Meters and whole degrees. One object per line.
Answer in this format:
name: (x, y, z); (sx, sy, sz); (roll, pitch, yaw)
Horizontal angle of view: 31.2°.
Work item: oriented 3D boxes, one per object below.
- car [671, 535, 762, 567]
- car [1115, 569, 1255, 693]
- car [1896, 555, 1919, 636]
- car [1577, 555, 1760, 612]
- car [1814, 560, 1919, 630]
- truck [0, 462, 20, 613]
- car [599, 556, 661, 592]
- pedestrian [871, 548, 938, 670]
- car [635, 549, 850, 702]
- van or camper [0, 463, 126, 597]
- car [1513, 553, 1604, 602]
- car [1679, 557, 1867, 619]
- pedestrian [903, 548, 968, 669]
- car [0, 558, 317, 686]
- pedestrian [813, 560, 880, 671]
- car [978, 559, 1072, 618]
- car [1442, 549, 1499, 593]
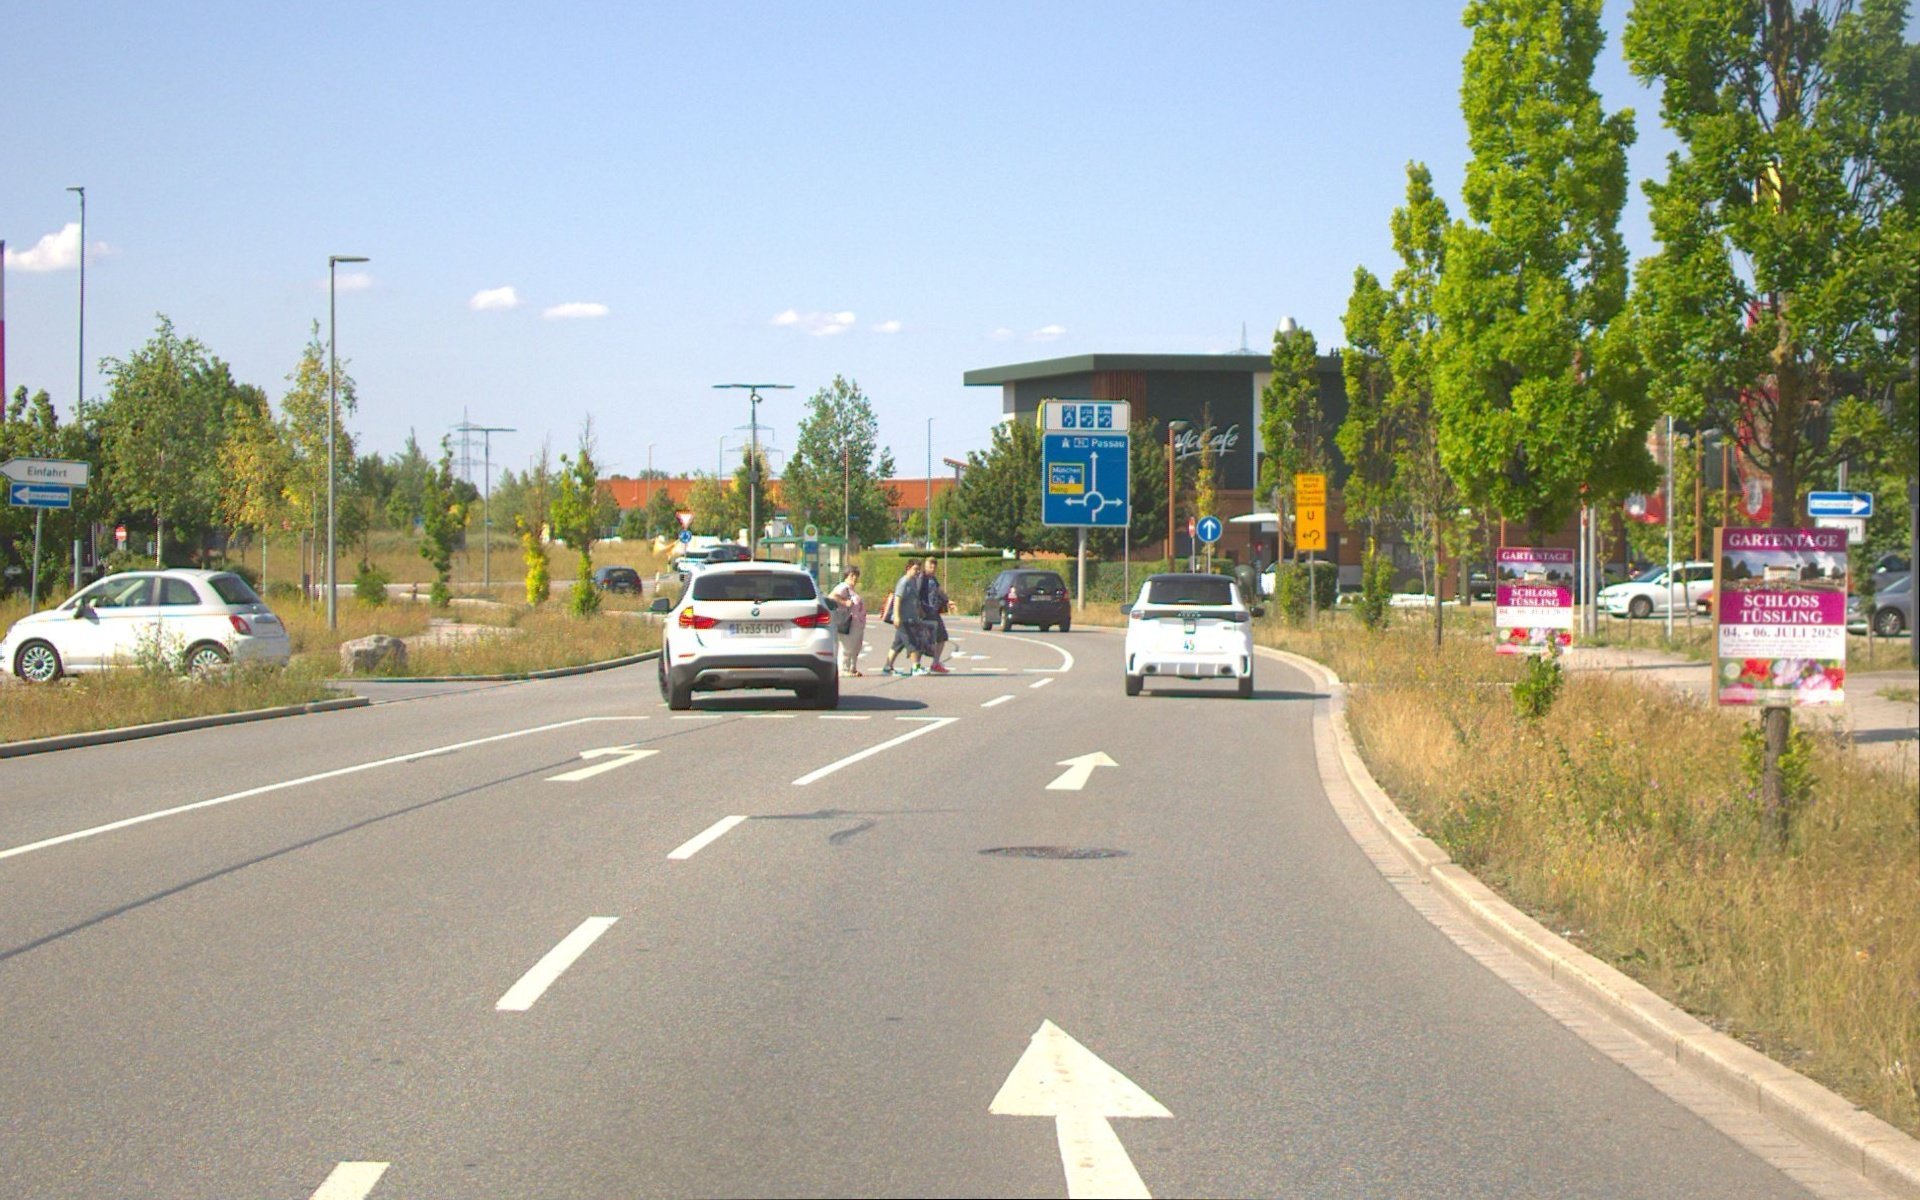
car: (-11.471, -2.329, 162.134); (1.999, 1.459, 3.990); (1, 2, 44)
car: (2.754, 0.340, 41.806); (1.617, 1.429, 3.792); (0, 1, 4)
car: (21.960, -0.123, 72.017); (4.153, 1.659, 1.869); (-1, 1, -3)
car: (19.365, -0.467, 94.054); (4.524, 1.485, 1.869); (-1, 1, -10)
car: (21.607, -0.137, 76.705); (4.554, 1.485, 1.869); (-1, 1, -7)
truck: (-23.910, -1.399, 76.301); (2.318, 3.452, 7.488); (0, 1, 16)
car: (-13.474, -1.076, 140.227); (1.993, 1.435, 4.001); (0, 1, -13)
pedestrian: (-0.744, 0.117, 46.298); (0.809, 1.623, 0.866); (1, 1, 4)
car: (-2.395, 0.234, 36.930); (1.911, 1.542, 4.227); (0, 1, -9)
van or camper: (-25.660, -1.812, 89.289); (7.690, 3.456, 2.556); (0, 1, -12)
car: (18.246, -0.702, 104.674); (1.699, 1.457, 4.163); (0, 1, 25)
car: (20.475, -0.310, 86.615); (4.203, 1.485, 1.869); (-1, 1, -10)
pedestrian: (-0.328, 0.105, 46.862); (0.801, 1.624, 0.805); (1, 1, 4)
car: (-10.361, 0.253, 43.367); (3.989, 1.542, 1.917); (0, 1, 11)
pedestrian: (-1.526, 0.198, 46.407); (0.793, 1.465, 0.949); (1, 1, 4)
car: (1.573, -0.299, 84.351); (1.616, 1.429, 3.793); (0, 1, -10)
car: (19.120, -1.092, 128.726); (1.794, 1.599, 3.998); (0, 1, 13)
